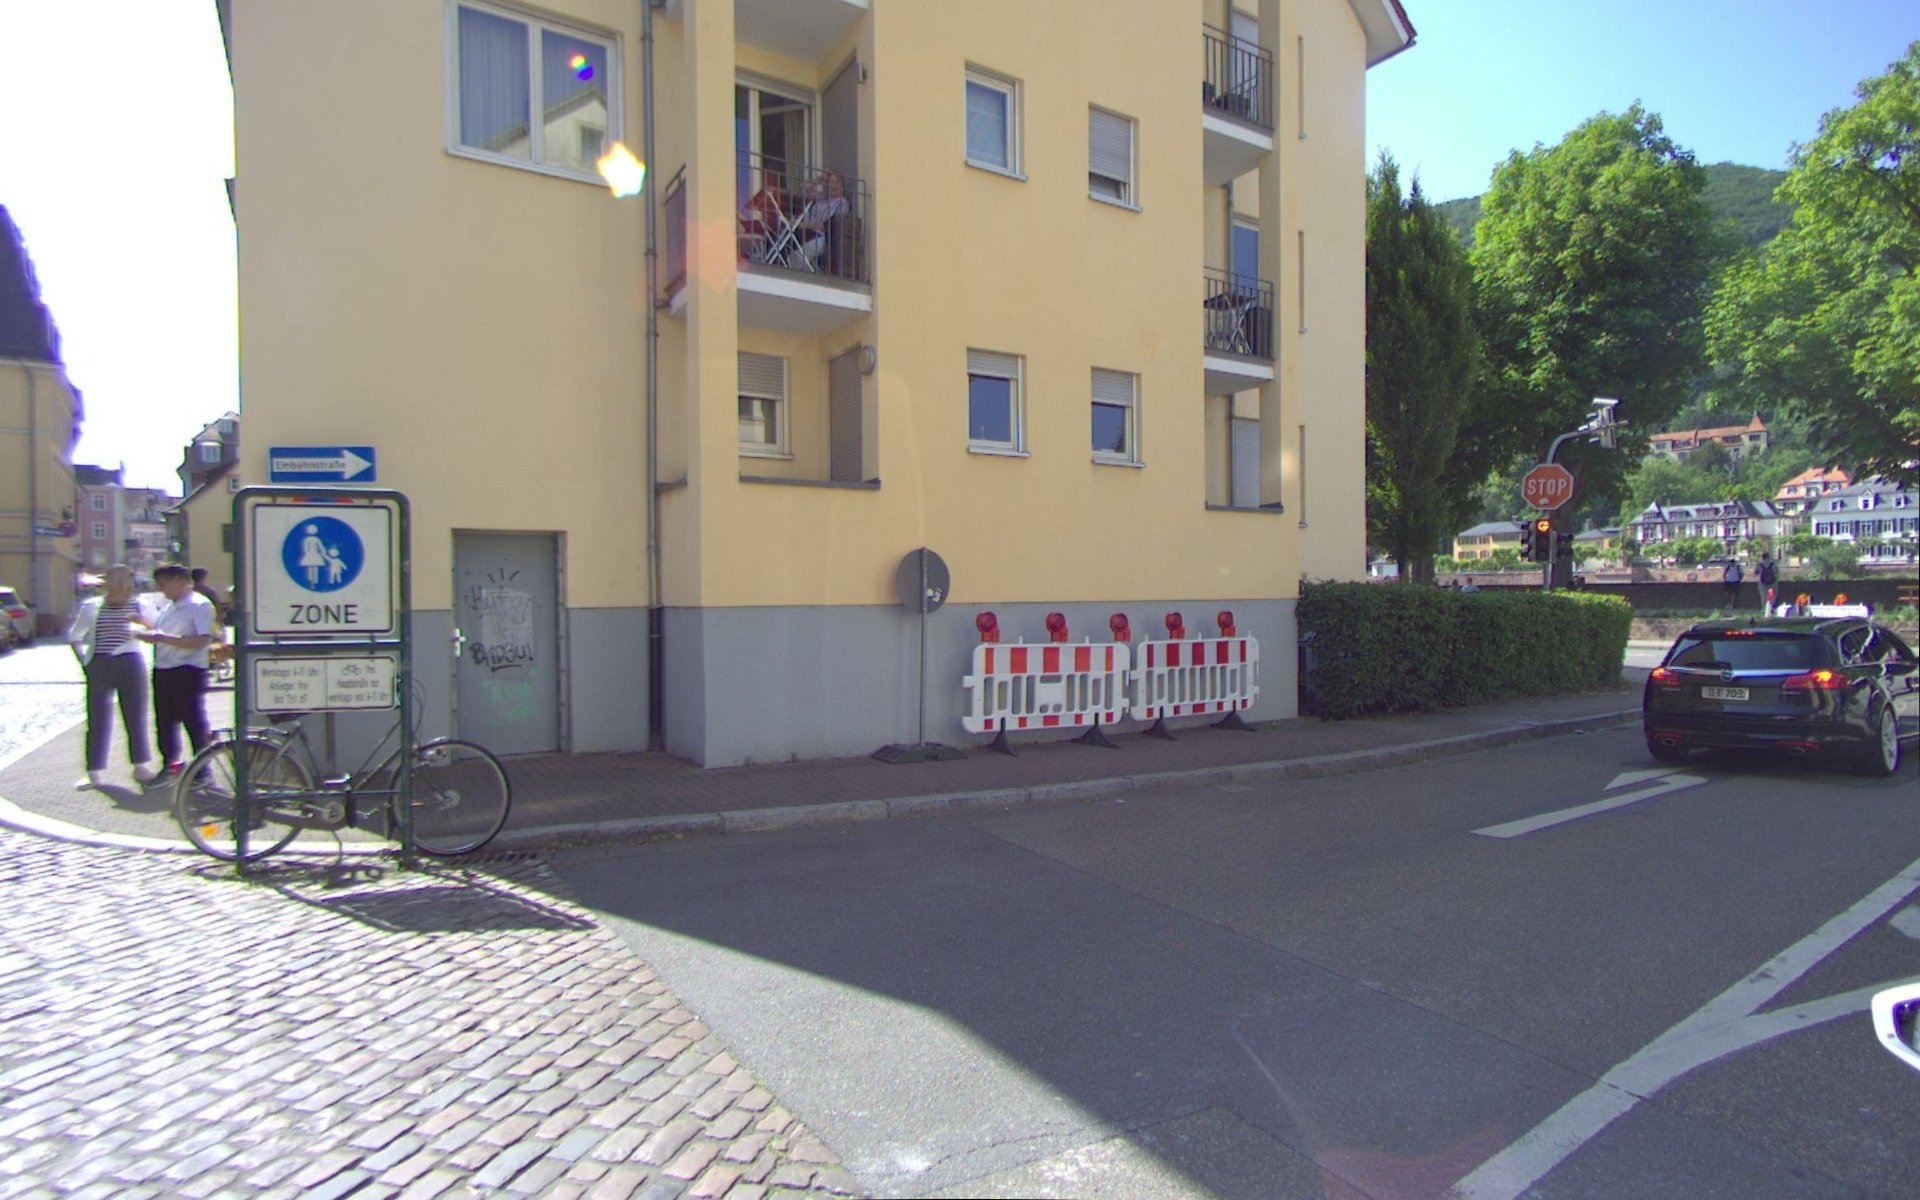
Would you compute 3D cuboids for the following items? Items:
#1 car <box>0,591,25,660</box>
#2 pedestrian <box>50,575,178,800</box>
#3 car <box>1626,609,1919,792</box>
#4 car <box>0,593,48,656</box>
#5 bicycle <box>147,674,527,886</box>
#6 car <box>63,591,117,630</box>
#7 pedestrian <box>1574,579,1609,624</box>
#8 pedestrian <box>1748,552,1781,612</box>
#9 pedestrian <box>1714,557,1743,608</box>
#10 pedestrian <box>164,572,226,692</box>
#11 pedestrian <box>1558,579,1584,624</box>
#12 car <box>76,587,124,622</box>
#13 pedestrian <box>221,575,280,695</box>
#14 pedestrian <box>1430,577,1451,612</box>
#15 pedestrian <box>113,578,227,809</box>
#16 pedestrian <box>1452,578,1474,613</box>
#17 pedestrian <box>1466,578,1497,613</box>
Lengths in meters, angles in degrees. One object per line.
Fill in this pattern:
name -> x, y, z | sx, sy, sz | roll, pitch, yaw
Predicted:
car -> -21.694, 0.541, 21.740 | 1.552, 1.463, 3.609 | 1, 0, -34
pedestrian -> -6.616, 0.631, 7.865 | 0.685, 1.640, 0.747 | -2, 3, -42
car -> 8.810, 0.869, 10.403 | 4.680, 1.481, 1.702 | 0, -2, -37
car -> -24.579, 0.575, 25.531 | 1.552, 1.463, 3.609 | 1, 0, -34
bicycle -> -3.632, 1.023, 5.997 | 1.879, 1.093, 0.390 | 0, 0, -18
car -> -47.430, 0.565, 54.835 | 1.982, 2.040, 3.957 | 0, 0, -37
pedestrian -> 21.333, 0.057, 33.913 | 1.370, 1.499, 0.464 | 0, 0, -32
pedestrian -> 25.485, -0.564, 31.822 | 0.752, 1.882, 0.754 | 1, 1, 36
pedestrian -> 26.811, -0.600, 35.040 | 0.700, 1.755, 0.752 | 1, 1, 44
pedestrian -> -11.700, 0.477, 15.385 | 0.612, 1.768, 0.854 | 3, 1, -32
pedestrian -> 20.835, 0.037, 34.235 | 0.796, 1.513, 0.464 | 0, 0, -32
car -> -52.249, 0.261, 61.067 | 1.982, 2.040, 3.957 | 0, 0, -37
pedestrian -> -10.904, 0.525, 15.457 | 0.612, 1.768, 0.854 | 3, 1, -32
pedestrian -> 18.226, -0.205, 38.083 | 0.624, 1.287, 0.464 | 0, 0, -32
pedestrian -> -5.918, 0.663, 7.525 | 0.646, 1.640, 0.491 | 1, 1, 33
pedestrian -> 18.690, -0.181, 37.337 | 0.624, 1.287, 0.464 | 0, 0, -32
pedestrian -> 19.240, -0.169, 37.048 | 1.210, 1.287, 0.464 | 0, 0, -32
